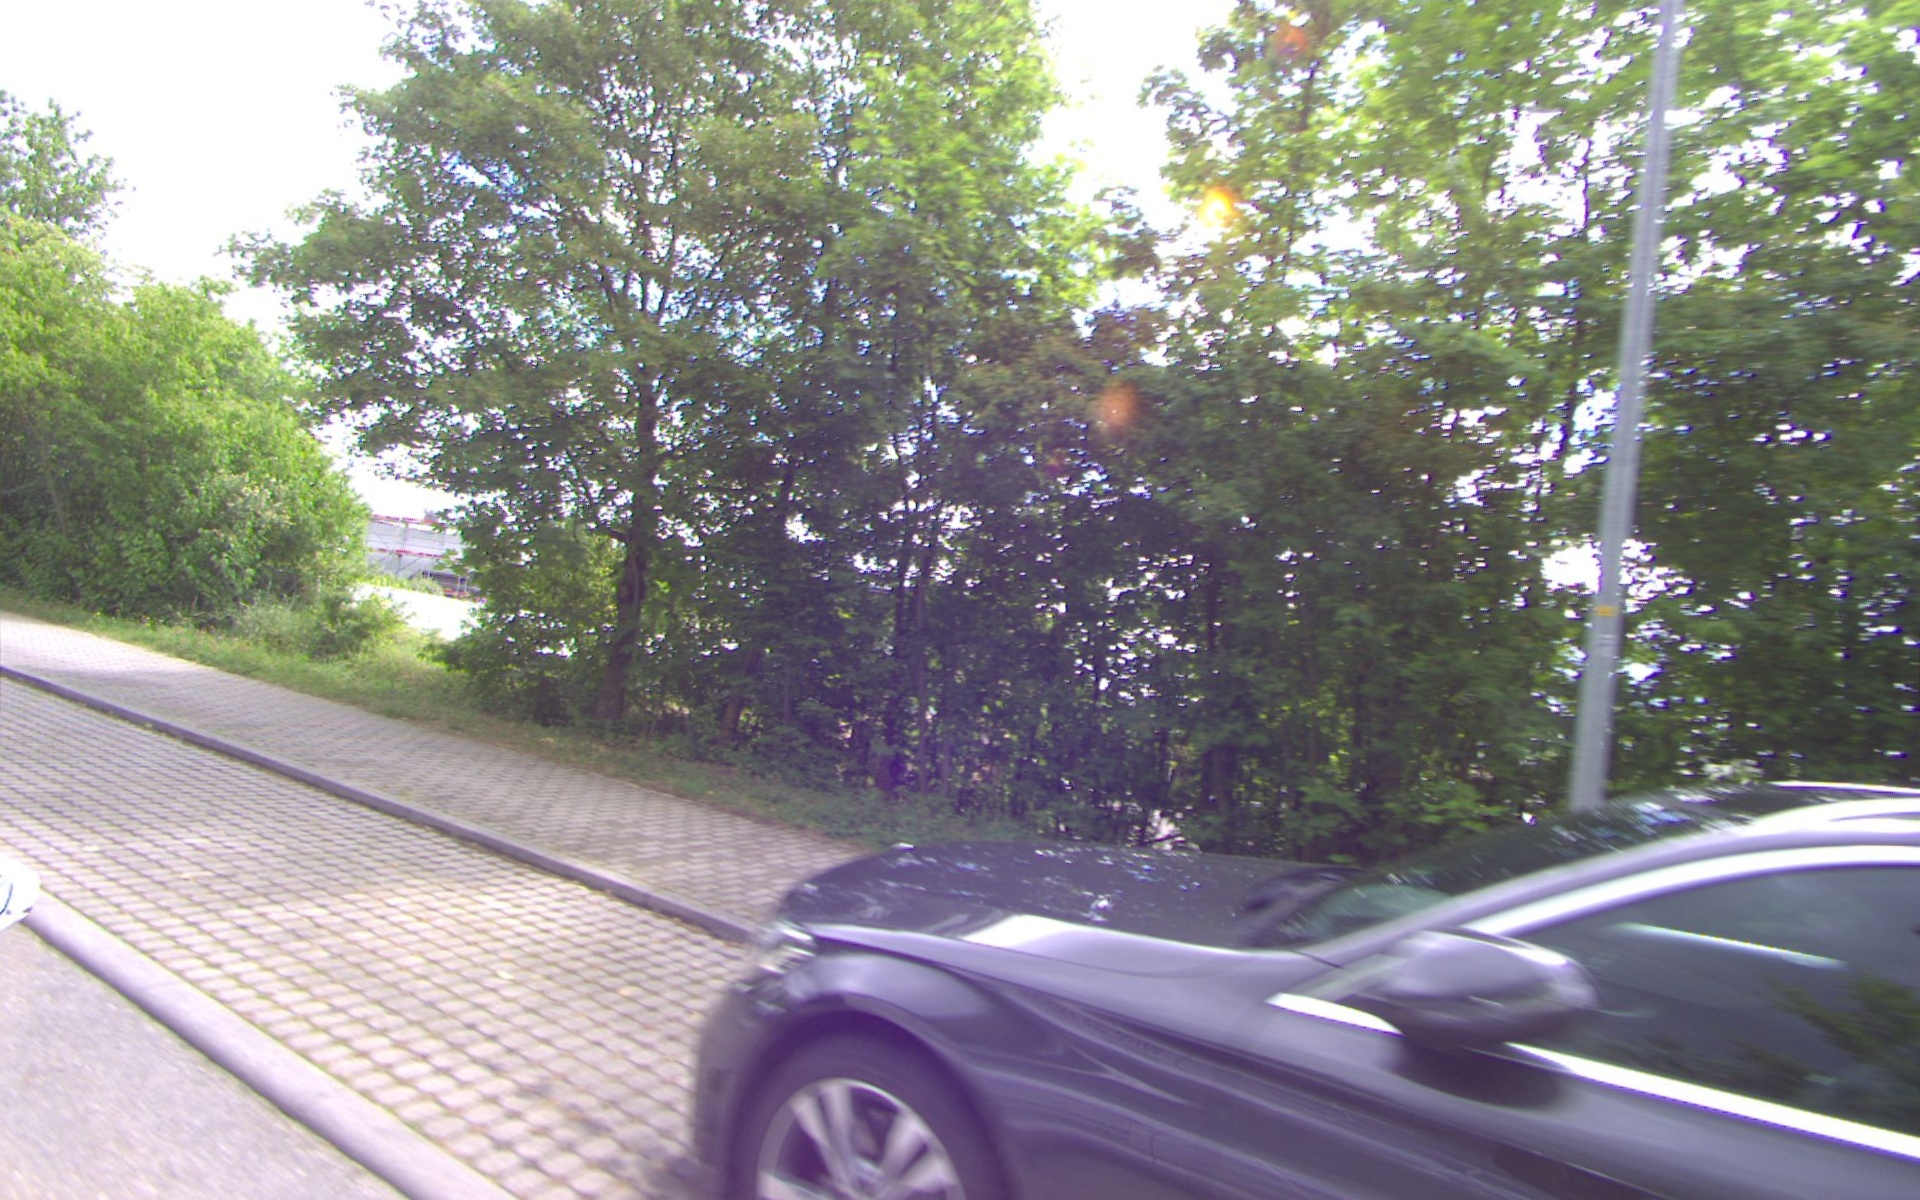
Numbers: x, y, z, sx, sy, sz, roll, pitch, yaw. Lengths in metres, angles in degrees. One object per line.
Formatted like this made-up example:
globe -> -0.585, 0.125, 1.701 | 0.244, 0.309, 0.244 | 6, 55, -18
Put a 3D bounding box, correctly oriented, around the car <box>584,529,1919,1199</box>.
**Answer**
car -> 1.592, 0.962, 1.953 | 4.471, 1.546, 1.898 | 7, -3, 33
